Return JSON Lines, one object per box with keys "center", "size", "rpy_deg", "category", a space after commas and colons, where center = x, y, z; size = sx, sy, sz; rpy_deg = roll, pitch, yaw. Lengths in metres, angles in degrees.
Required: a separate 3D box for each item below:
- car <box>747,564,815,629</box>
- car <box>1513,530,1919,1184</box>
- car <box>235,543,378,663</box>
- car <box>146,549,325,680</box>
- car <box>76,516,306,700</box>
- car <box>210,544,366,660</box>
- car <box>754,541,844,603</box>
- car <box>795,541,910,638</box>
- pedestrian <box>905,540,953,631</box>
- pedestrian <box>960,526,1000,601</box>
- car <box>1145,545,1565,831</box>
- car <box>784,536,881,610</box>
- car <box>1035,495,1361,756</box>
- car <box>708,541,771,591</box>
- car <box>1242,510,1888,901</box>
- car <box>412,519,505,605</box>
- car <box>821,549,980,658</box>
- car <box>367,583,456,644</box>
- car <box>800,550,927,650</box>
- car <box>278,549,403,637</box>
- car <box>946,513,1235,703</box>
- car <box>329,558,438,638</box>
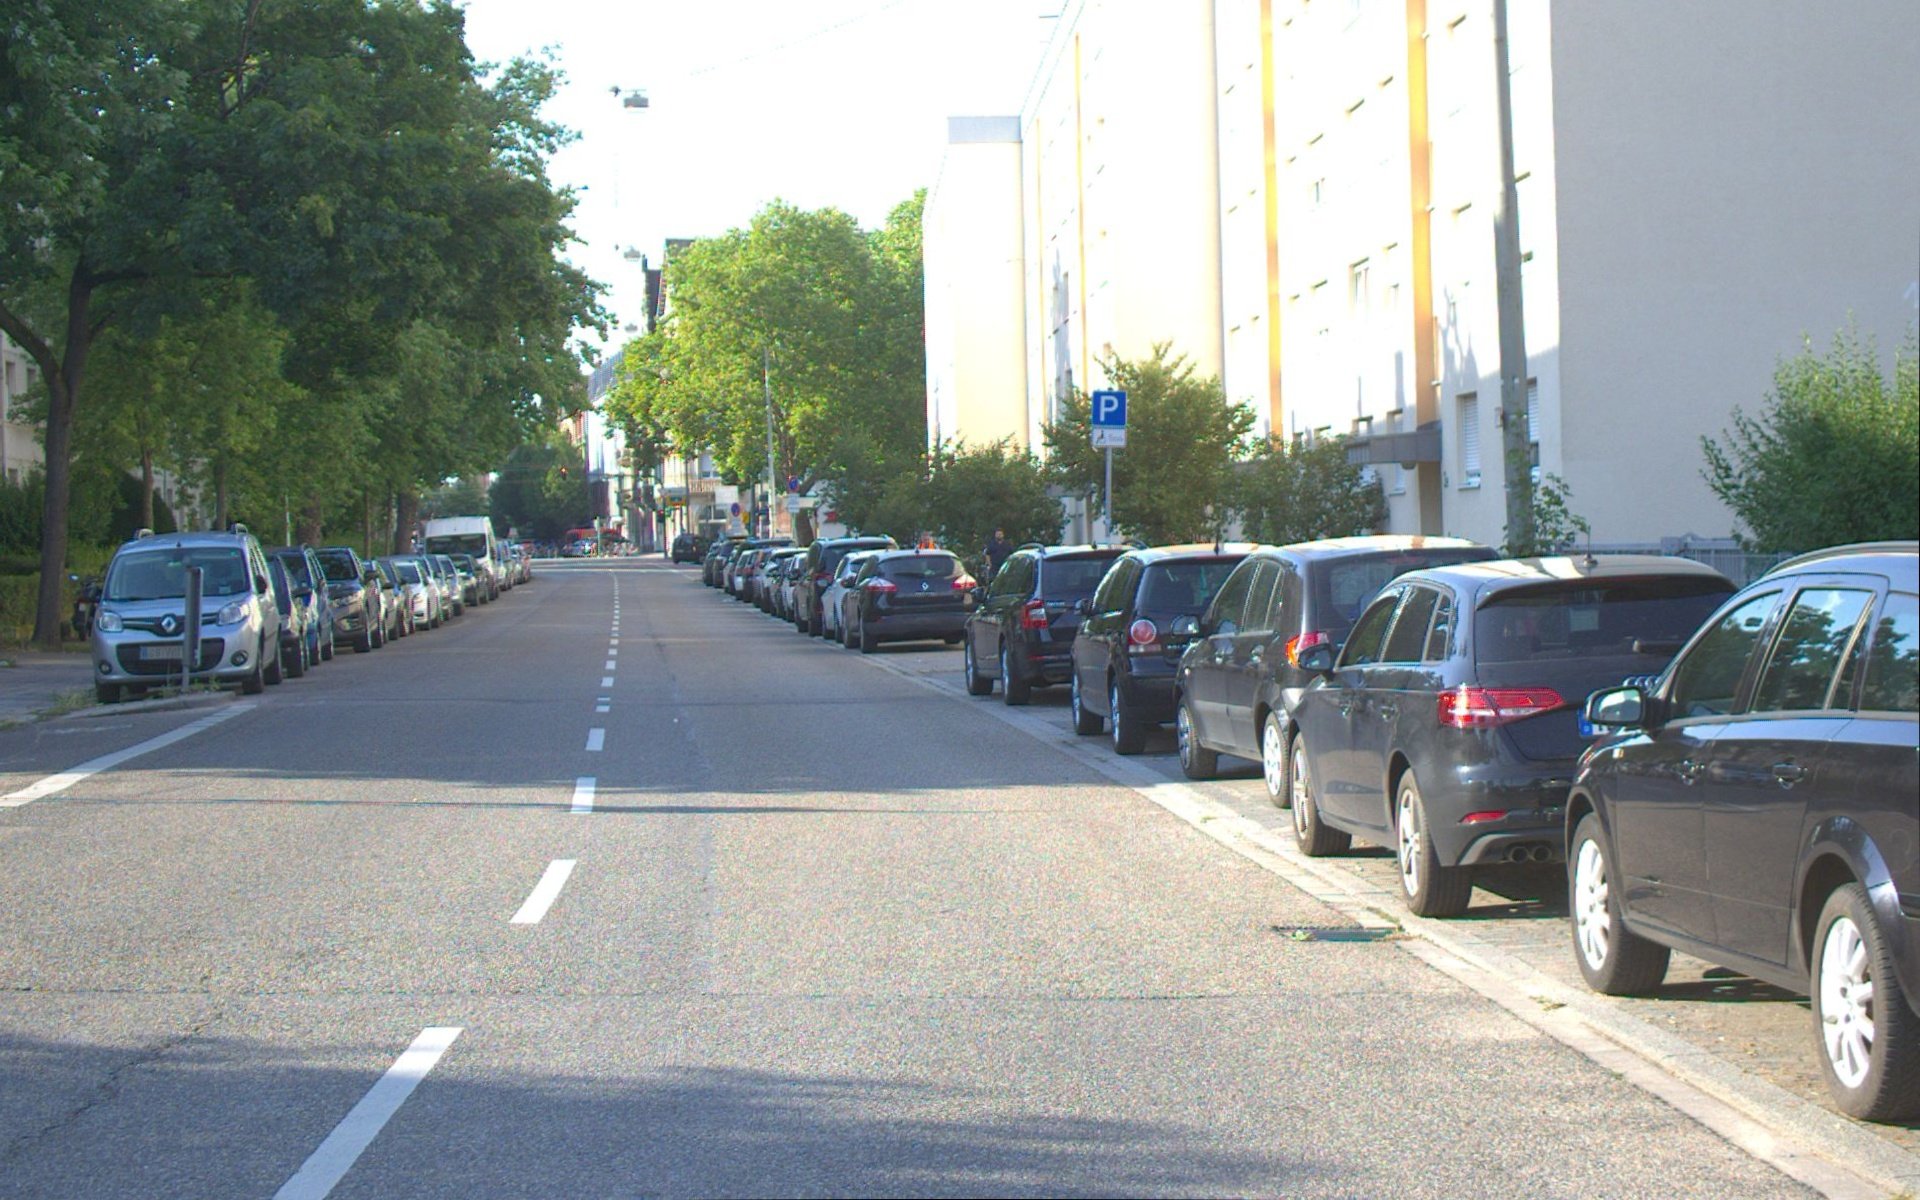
{"center": [-4.984, -0.099, 96.057], "size": [1.837, 1.766, 3.978], "rpy_deg": [-1, 0, -2], "category": "car"}
{"center": [2.994, 0.576, 10.139], "size": [1.741, 1.535, 4.440], "rpy_deg": [-2, 0, -3], "category": "car"}
{"center": [-10.077, 0.052, 53.282], "size": [1.873, 1.753, 4.691], "rpy_deg": [1, 0, -7], "category": "car"}
{"center": [-9.102, 0.173, 43.430], "size": [1.873, 1.547, 4.001], "rpy_deg": [1, 0, -7], "category": "car"}
{"center": [-8.448, 0.089, 38.113], "size": [1.841, 1.890, 4.487], "rpy_deg": [1, 0, -4], "category": "car"}
{"center": [-9.442, 0.030, 48.546], "size": [1.873, 1.547, 4.001], "rpy_deg": [1, 0, -7], "category": "car"}
{"center": [-3.968, -0.662, 84.148], "size": [1.873, 1.438, 4.001], "rpy_deg": [1, 0, -7], "category": "car"}
{"center": [-1.978, -0.173, 62.036], "size": [1.771, 1.672, 4.647], "rpy_deg": [0, 0, -6], "category": "car"}
{"center": [-0.669, -0.305, 73.130], "size": [0.888, 1.884, 1.279], "rpy_deg": [1, 0, -5], "category": "pedestrian"}
{"center": [0.457, -0.823, 77.489], "size": [0.765, 1.652, 0.536], "rpy_deg": [-3, 0, -5], "category": "pedestrian"}
{"center": [2.298, 0.453, 20.963], "size": [1.650, 1.431, 3.961], "rpy_deg": [-1, 3, -7], "category": "car"}
{"center": [-2.768, -0.568, 73.846], "size": [1.771, 1.449, 4.001], "rpy_deg": [-3, 0, -6], "category": "car"}
{"center": [1.696, 0.180, 26.079], "size": [1.901, 1.773, 4.582], "rpy_deg": [1, 0, -3], "category": "car"}
{"center": [-7.977, -1.227, 123.996], "size": [1.897, 1.645, 4.344], "rpy_deg": [-4, 1, -7], "category": "car"}
{"center": [2.571, 0.414, 15.869], "size": [1.901, 1.524, 4.811], "rpy_deg": [0, 0, -3], "category": "car"}
{"center": [-14.846, -1.083, 102.026], "size": [2.357, 2.437, 6.166], "rpy_deg": [1, 0, -5], "category": "car"}
{"center": [-0.929, 0.059, 50.790], "size": [1.798, 1.502, 4.622], "rpy_deg": [1, 0, -7], "category": "car"}
{"center": [-12.812, 0.311, 80.503], "size": [1.873, 1.351, 4.654], "rpy_deg": [1, 0, -7], "category": "car"}
{"center": [-1.634, 0.002, 56.857], "size": [1.771, 1.503, 4.001], "rpy_deg": [-3, 0, -6], "category": "car"}
{"center": [-10.721, -0.117, 59.751], "size": [1.873, 1.429, 4.805], "rpy_deg": [1, 0, -7], "category": "car"}
{"center": [1.153, 0.067, 32.924], "size": [1.886, 1.556, 4.947], "rpy_deg": [-4, 0, -7], "category": "car"}
{"center": [-11.728, -0.044, 70.139], "size": [2.004, 1.547, 4.472], "rpy_deg": [1, 0, -7], "category": "car"}
